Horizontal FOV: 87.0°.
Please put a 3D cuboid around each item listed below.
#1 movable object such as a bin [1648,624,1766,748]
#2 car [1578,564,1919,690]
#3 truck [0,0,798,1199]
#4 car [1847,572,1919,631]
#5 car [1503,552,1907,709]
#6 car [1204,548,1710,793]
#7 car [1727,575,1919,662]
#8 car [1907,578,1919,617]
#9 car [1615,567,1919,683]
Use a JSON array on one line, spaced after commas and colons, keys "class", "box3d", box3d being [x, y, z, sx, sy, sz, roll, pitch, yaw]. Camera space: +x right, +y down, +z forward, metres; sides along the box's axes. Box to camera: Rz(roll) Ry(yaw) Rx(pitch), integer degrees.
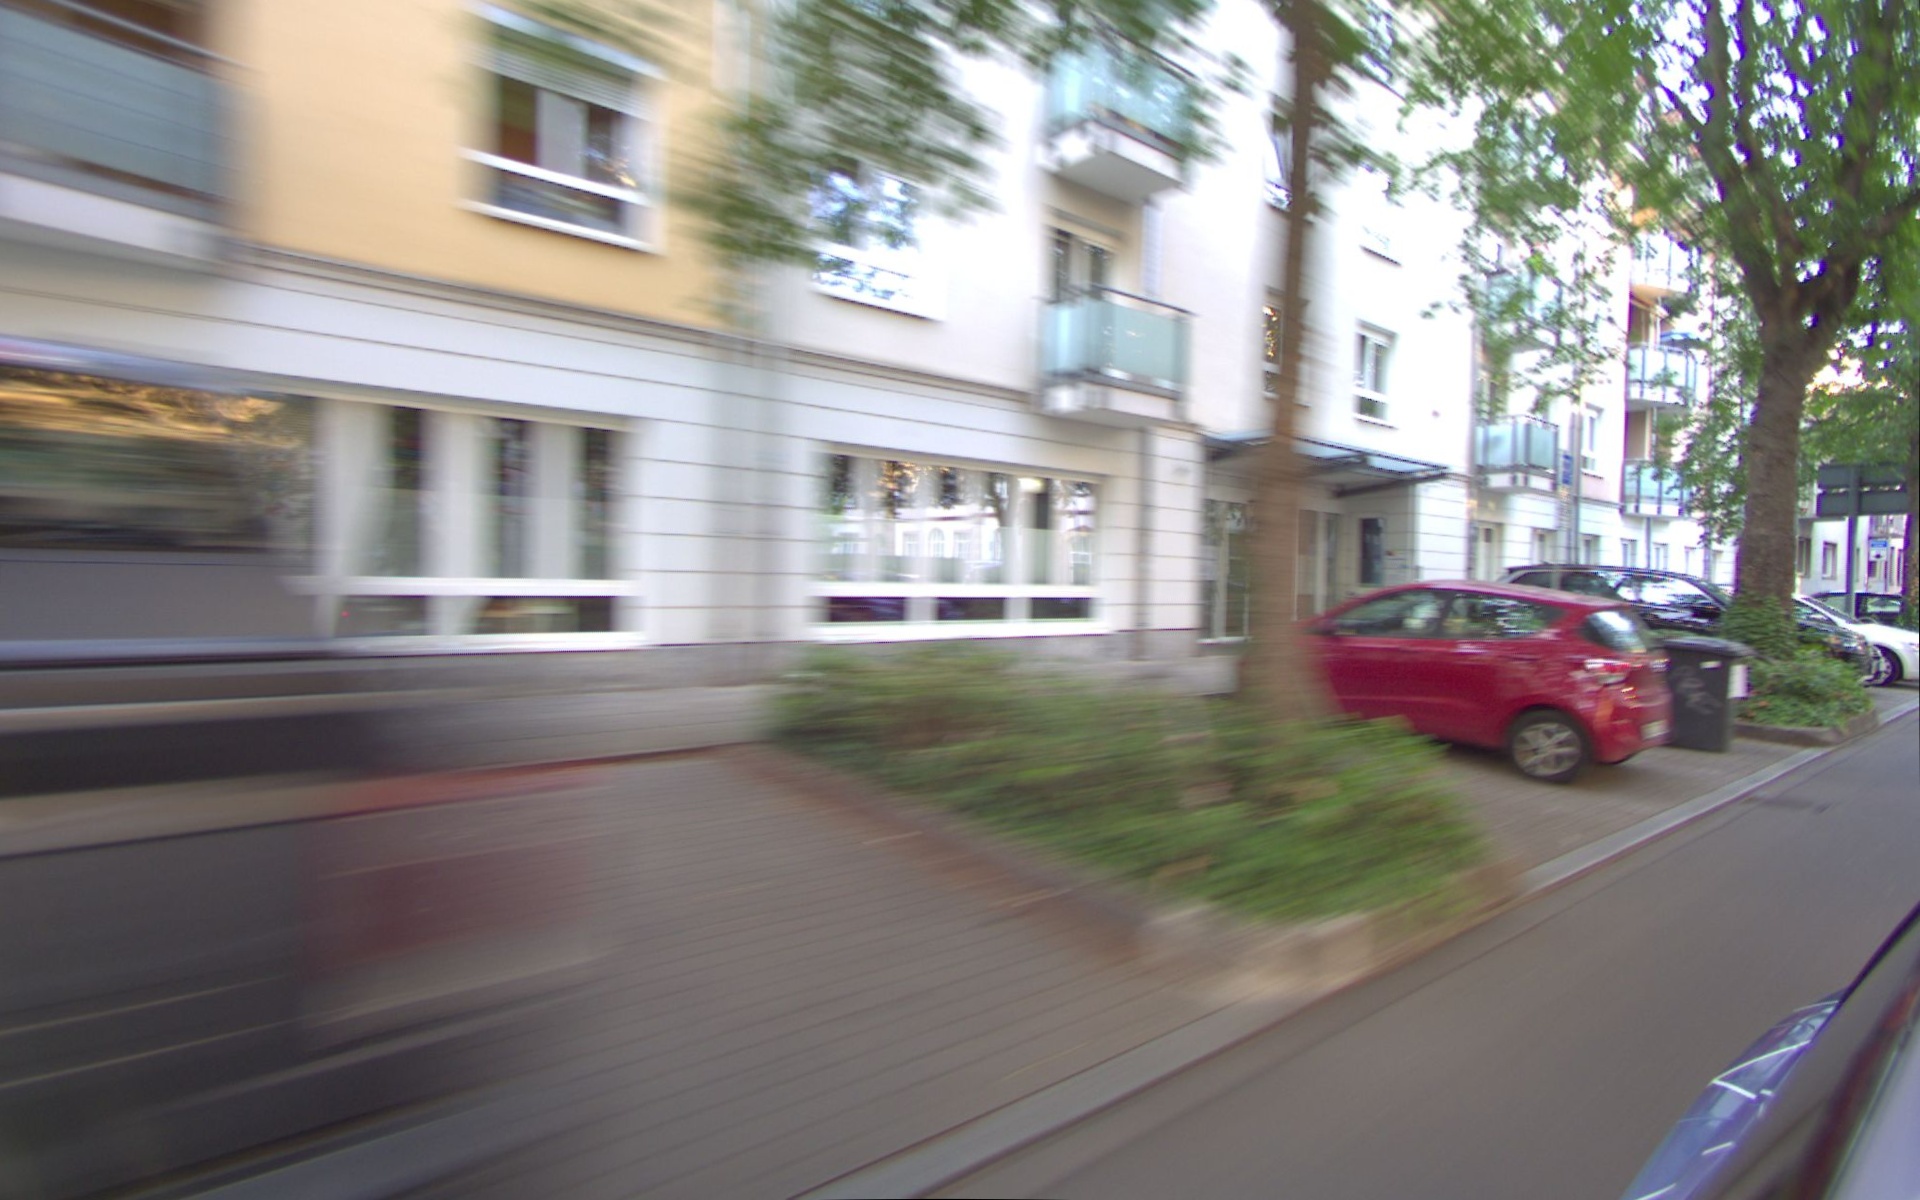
[{"class": "movable object such as a bin", "box3d": [7.117, 0.790, 9.648, 0.579, 1.081, 0.776, 0, 1, -40]}, {"class": "car", "box3d": [12.538, 0.326, 16.291, 1.695, 1.543, 4.001, 0, 5, -38]}, {"class": "truck", "box3d": [-3.041, 0.095, 3.175, 2.220, 2.158, 6.023, 0, 6, -39]}, {"class": "car", "box3d": [29.552, 0.106, 30.538, 1.891, 1.687, 3.873, 0, 4, -39]}, {"class": "car", "box3d": [10.551, 0.290, 14.589, 1.865, 1.724, 4.389, -1, 5, -44]}, {"class": "car", "box3d": [4.302, 0.411, 9.193, 1.750, 1.566, 3.673, -2, 7, -41]}, {"class": "car", "box3d": [18.931, 0.374, 21.389, 1.881, 1.492, 3.994, 0, 5, -43]}, {"class": "car", "box3d": [39.495, 0.069, 38.769, 1.698, 1.487, 4.376, 0, 4, -35]}, {"class": "car", "box3d": [14.397, 0.356, 17.671, 1.741, 1.570, 4.584, 0, 5, -40]}]
